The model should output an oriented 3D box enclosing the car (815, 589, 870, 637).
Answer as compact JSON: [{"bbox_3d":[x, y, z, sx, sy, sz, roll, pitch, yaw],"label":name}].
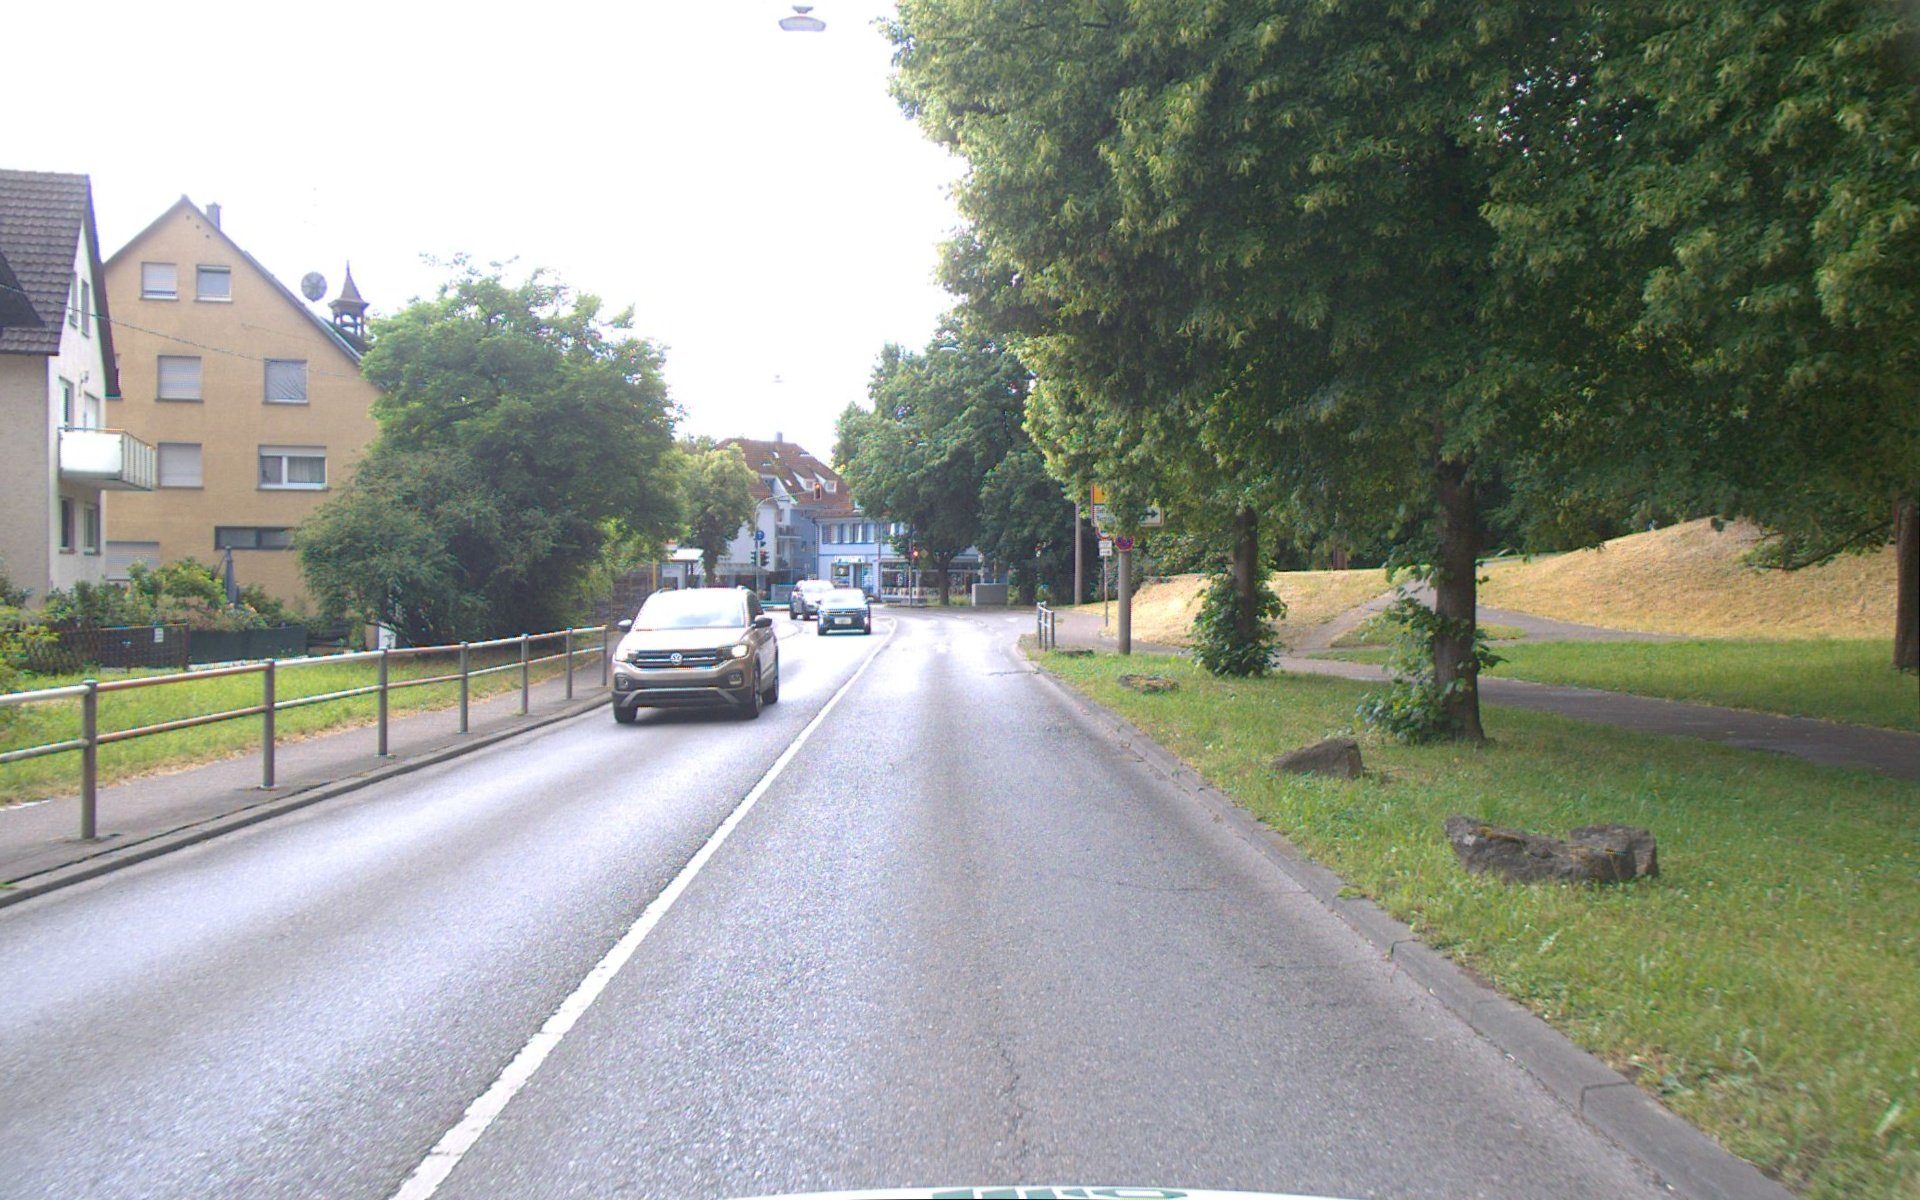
[{"bbox_3d":[-3.925,0.415,55.777,1.681,1.494,4.097,-1,1,-2],"label":"car"}]

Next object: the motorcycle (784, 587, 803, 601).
[{"bbox_3d":[-14.196,-0.515,140.695,1.463,1.125,0.561,-2,5,12],"label":"motorcycle"}]

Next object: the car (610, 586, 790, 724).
[{"bbox_3d":[-3.196,0.625,21.042,1.670,1.538,3.999,-2,0,-1],"label":"car"}]

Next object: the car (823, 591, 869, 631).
[{"bbox_3d":[-5.232,0.464,76.117,1.896,1.754,4.690,-1,0,-2],"label":"car"}]

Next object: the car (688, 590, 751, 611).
[{"bbox_3d":[-19.052,0.061,131.045,4.480,1.544,2.002,-1,0,14],"label":"car"}]
